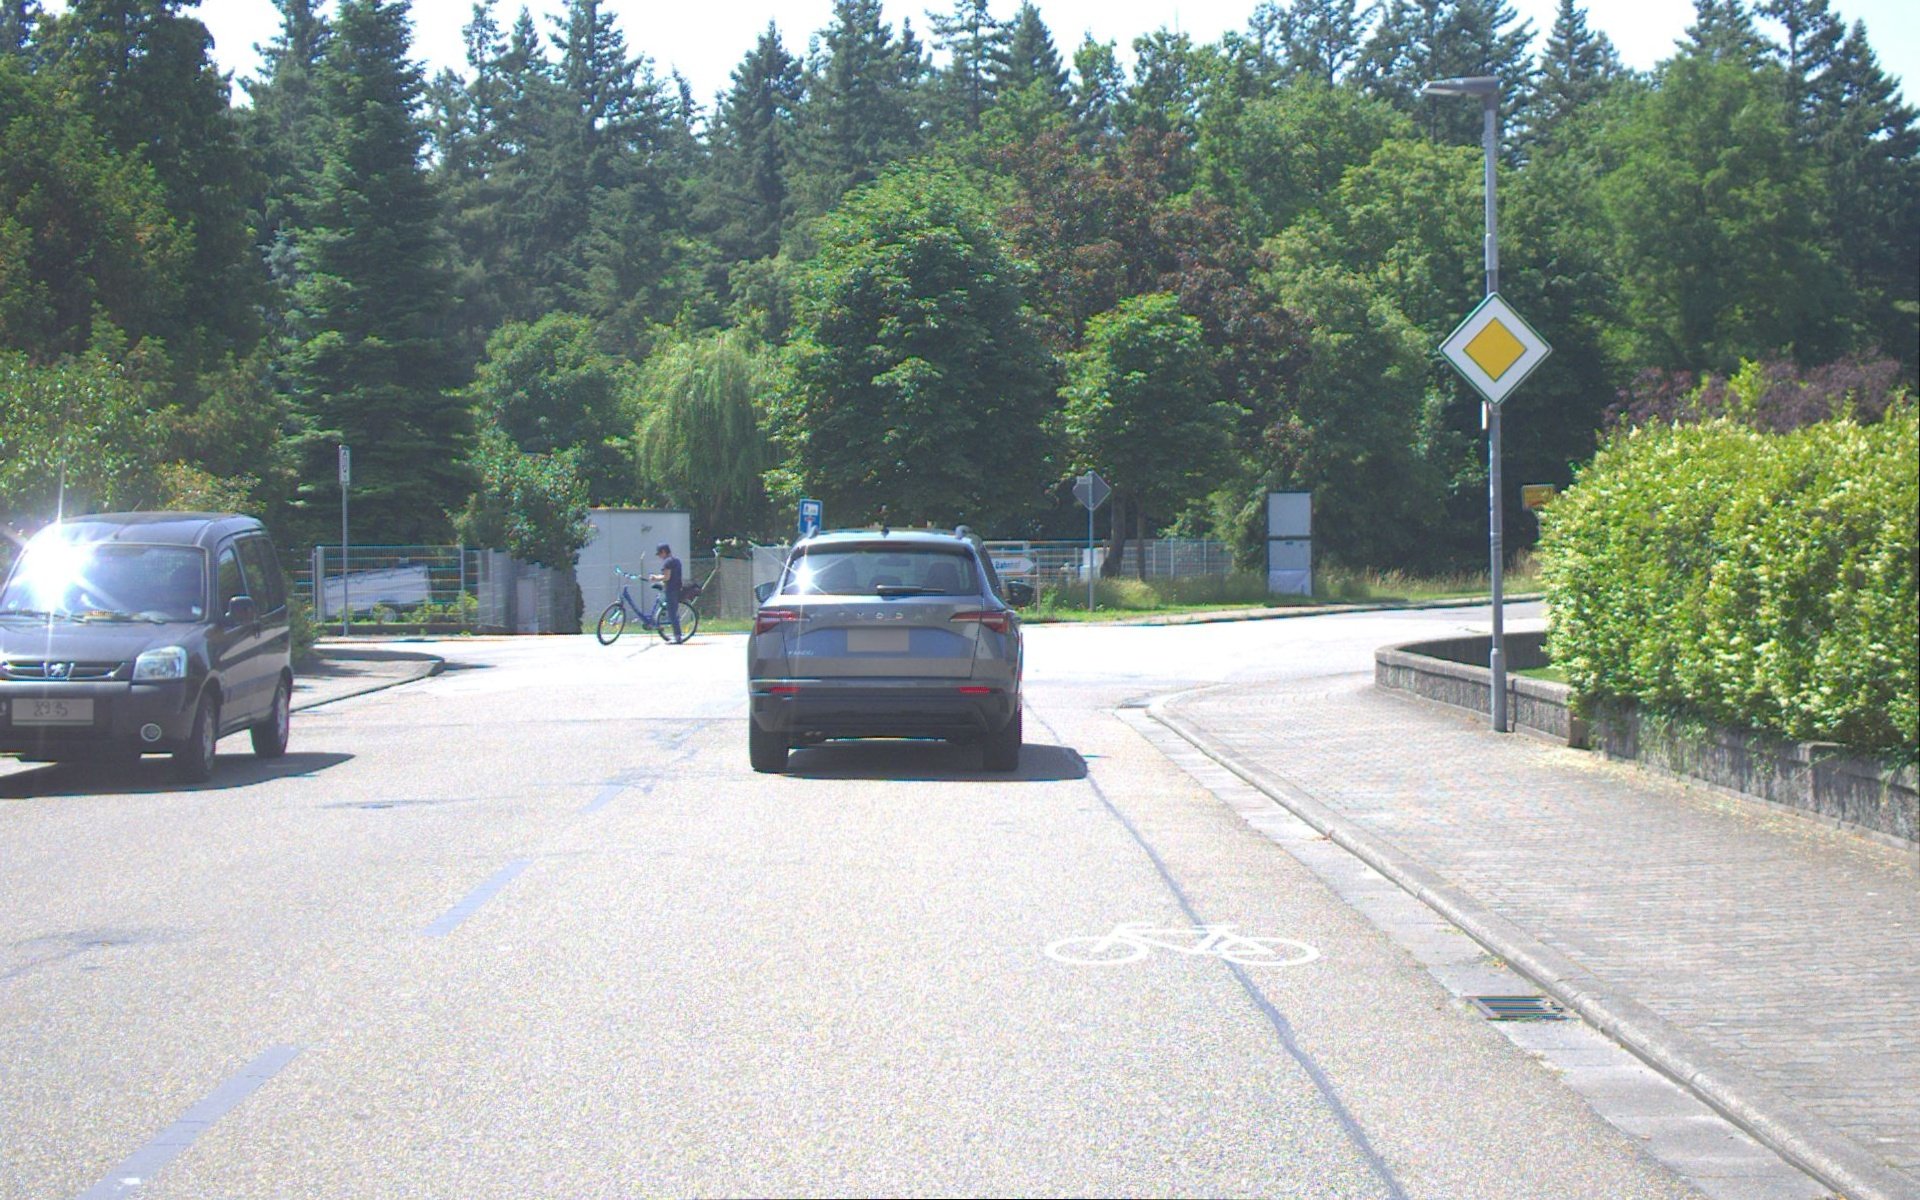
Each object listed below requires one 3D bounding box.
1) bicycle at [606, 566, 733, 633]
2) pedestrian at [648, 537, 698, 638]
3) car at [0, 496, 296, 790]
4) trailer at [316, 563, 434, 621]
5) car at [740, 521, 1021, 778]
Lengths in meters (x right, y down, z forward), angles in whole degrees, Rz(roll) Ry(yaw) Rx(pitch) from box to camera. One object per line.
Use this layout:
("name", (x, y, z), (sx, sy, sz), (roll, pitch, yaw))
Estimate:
("bicycle", (-4.363, -0.011, 51.679), (1.842, 0.960, 0.443), (-1, 1, -21))
("pedestrian", (-4.277, -0.189, 51.176), (0.610, 1.495, 0.504), (-1, 1, -20))
("car", (-5.765, 0.242, 23.625), (1.718, 1.839, 4.055), (-1, 1, -2))
("trailer", (-11.276, -0.155, 66.347), (2.214, 1.080, 1.106), (-1, 1, -8))
("car", (-0.563, 0.283, 23.790), (1.762, 1.612, 4.000), (1, 1, -2))
